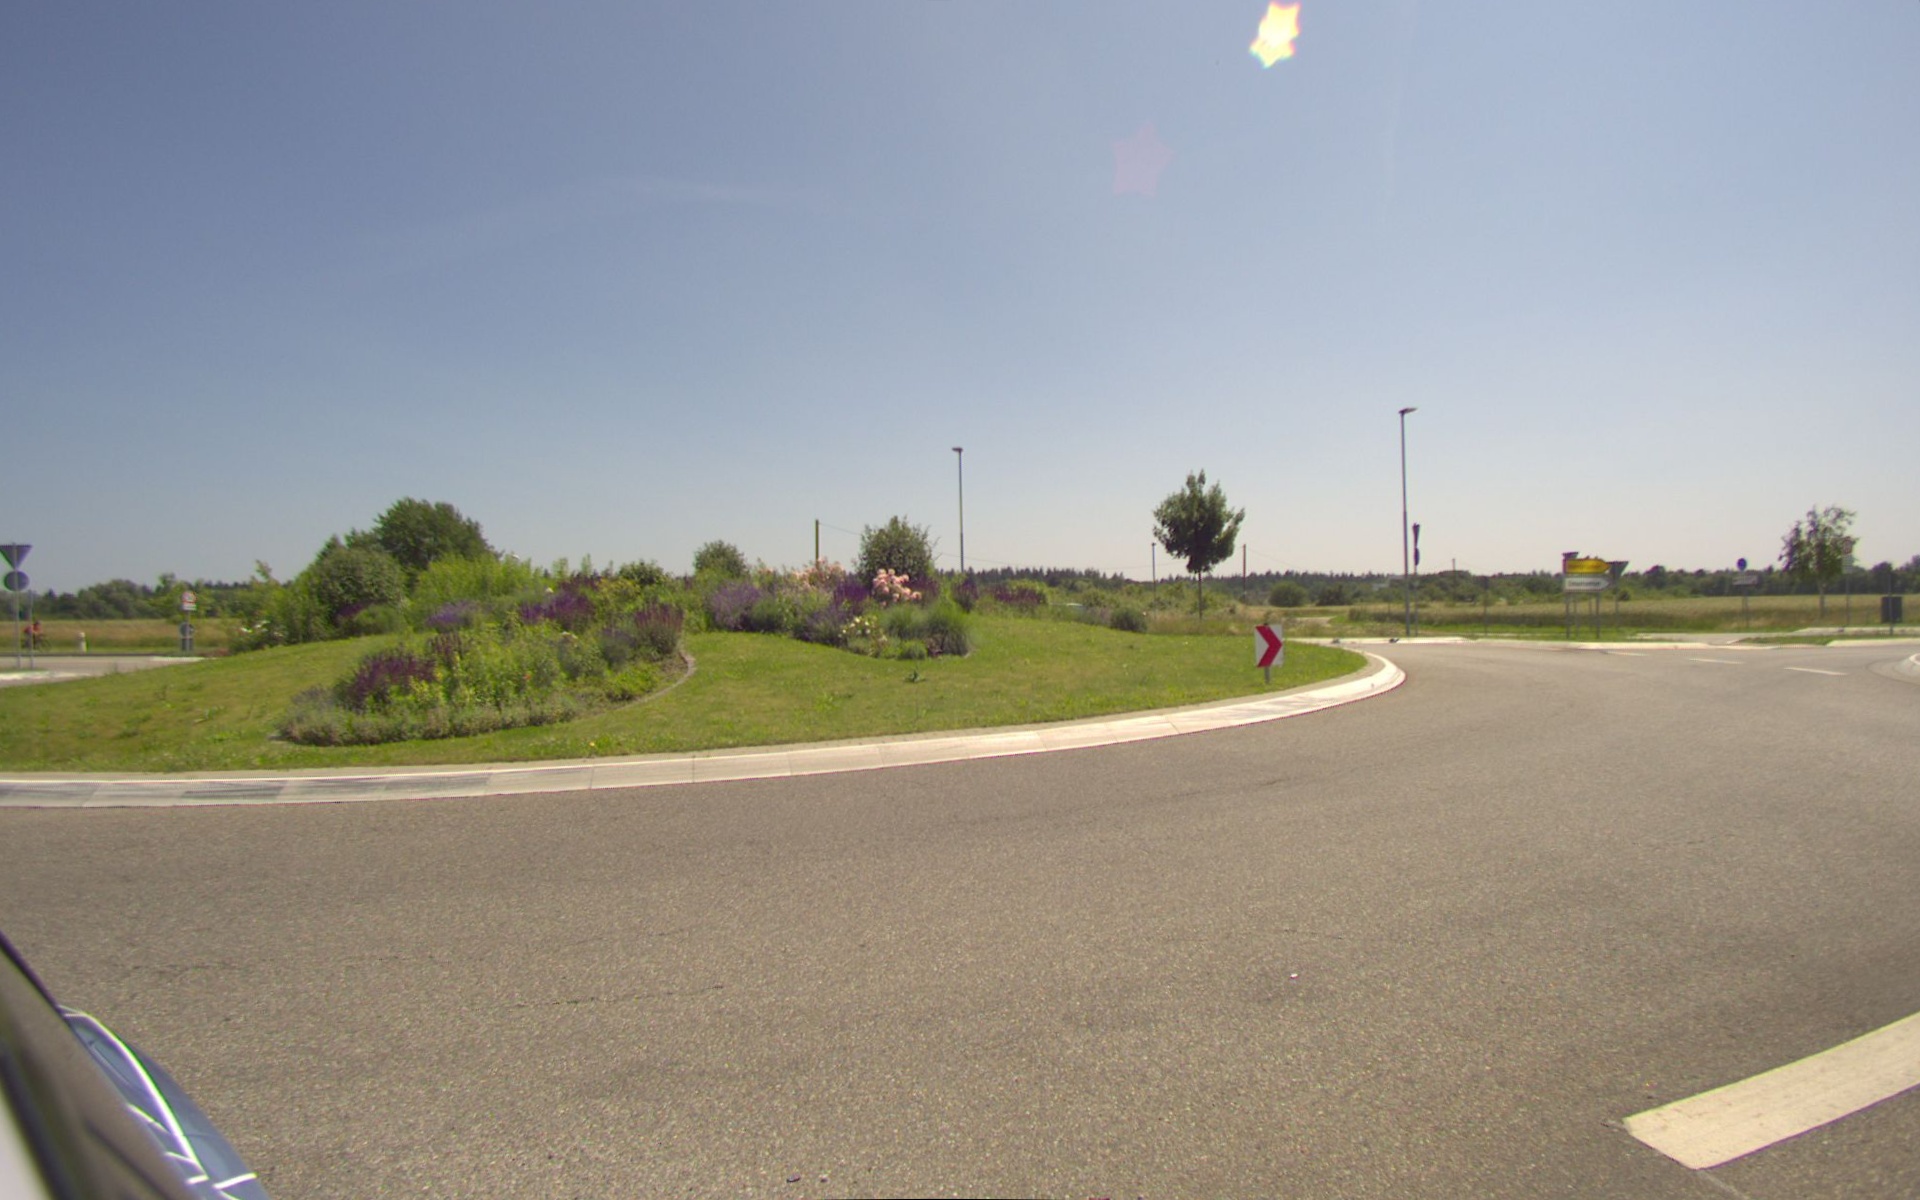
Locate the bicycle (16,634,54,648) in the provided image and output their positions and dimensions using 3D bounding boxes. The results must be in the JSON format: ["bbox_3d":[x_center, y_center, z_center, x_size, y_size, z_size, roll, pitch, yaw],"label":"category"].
[{"bbox_3d":[-49.363,2.182,53.994,1.447,0.735,0.580,-1,-1,-6],"label":"bicycle"}]

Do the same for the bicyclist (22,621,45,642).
[{"bbox_3d":[-49.446,1.674,53.995,0.713,1.087,0.580,-1,-1,-7],"label":"bicyclist"}]
